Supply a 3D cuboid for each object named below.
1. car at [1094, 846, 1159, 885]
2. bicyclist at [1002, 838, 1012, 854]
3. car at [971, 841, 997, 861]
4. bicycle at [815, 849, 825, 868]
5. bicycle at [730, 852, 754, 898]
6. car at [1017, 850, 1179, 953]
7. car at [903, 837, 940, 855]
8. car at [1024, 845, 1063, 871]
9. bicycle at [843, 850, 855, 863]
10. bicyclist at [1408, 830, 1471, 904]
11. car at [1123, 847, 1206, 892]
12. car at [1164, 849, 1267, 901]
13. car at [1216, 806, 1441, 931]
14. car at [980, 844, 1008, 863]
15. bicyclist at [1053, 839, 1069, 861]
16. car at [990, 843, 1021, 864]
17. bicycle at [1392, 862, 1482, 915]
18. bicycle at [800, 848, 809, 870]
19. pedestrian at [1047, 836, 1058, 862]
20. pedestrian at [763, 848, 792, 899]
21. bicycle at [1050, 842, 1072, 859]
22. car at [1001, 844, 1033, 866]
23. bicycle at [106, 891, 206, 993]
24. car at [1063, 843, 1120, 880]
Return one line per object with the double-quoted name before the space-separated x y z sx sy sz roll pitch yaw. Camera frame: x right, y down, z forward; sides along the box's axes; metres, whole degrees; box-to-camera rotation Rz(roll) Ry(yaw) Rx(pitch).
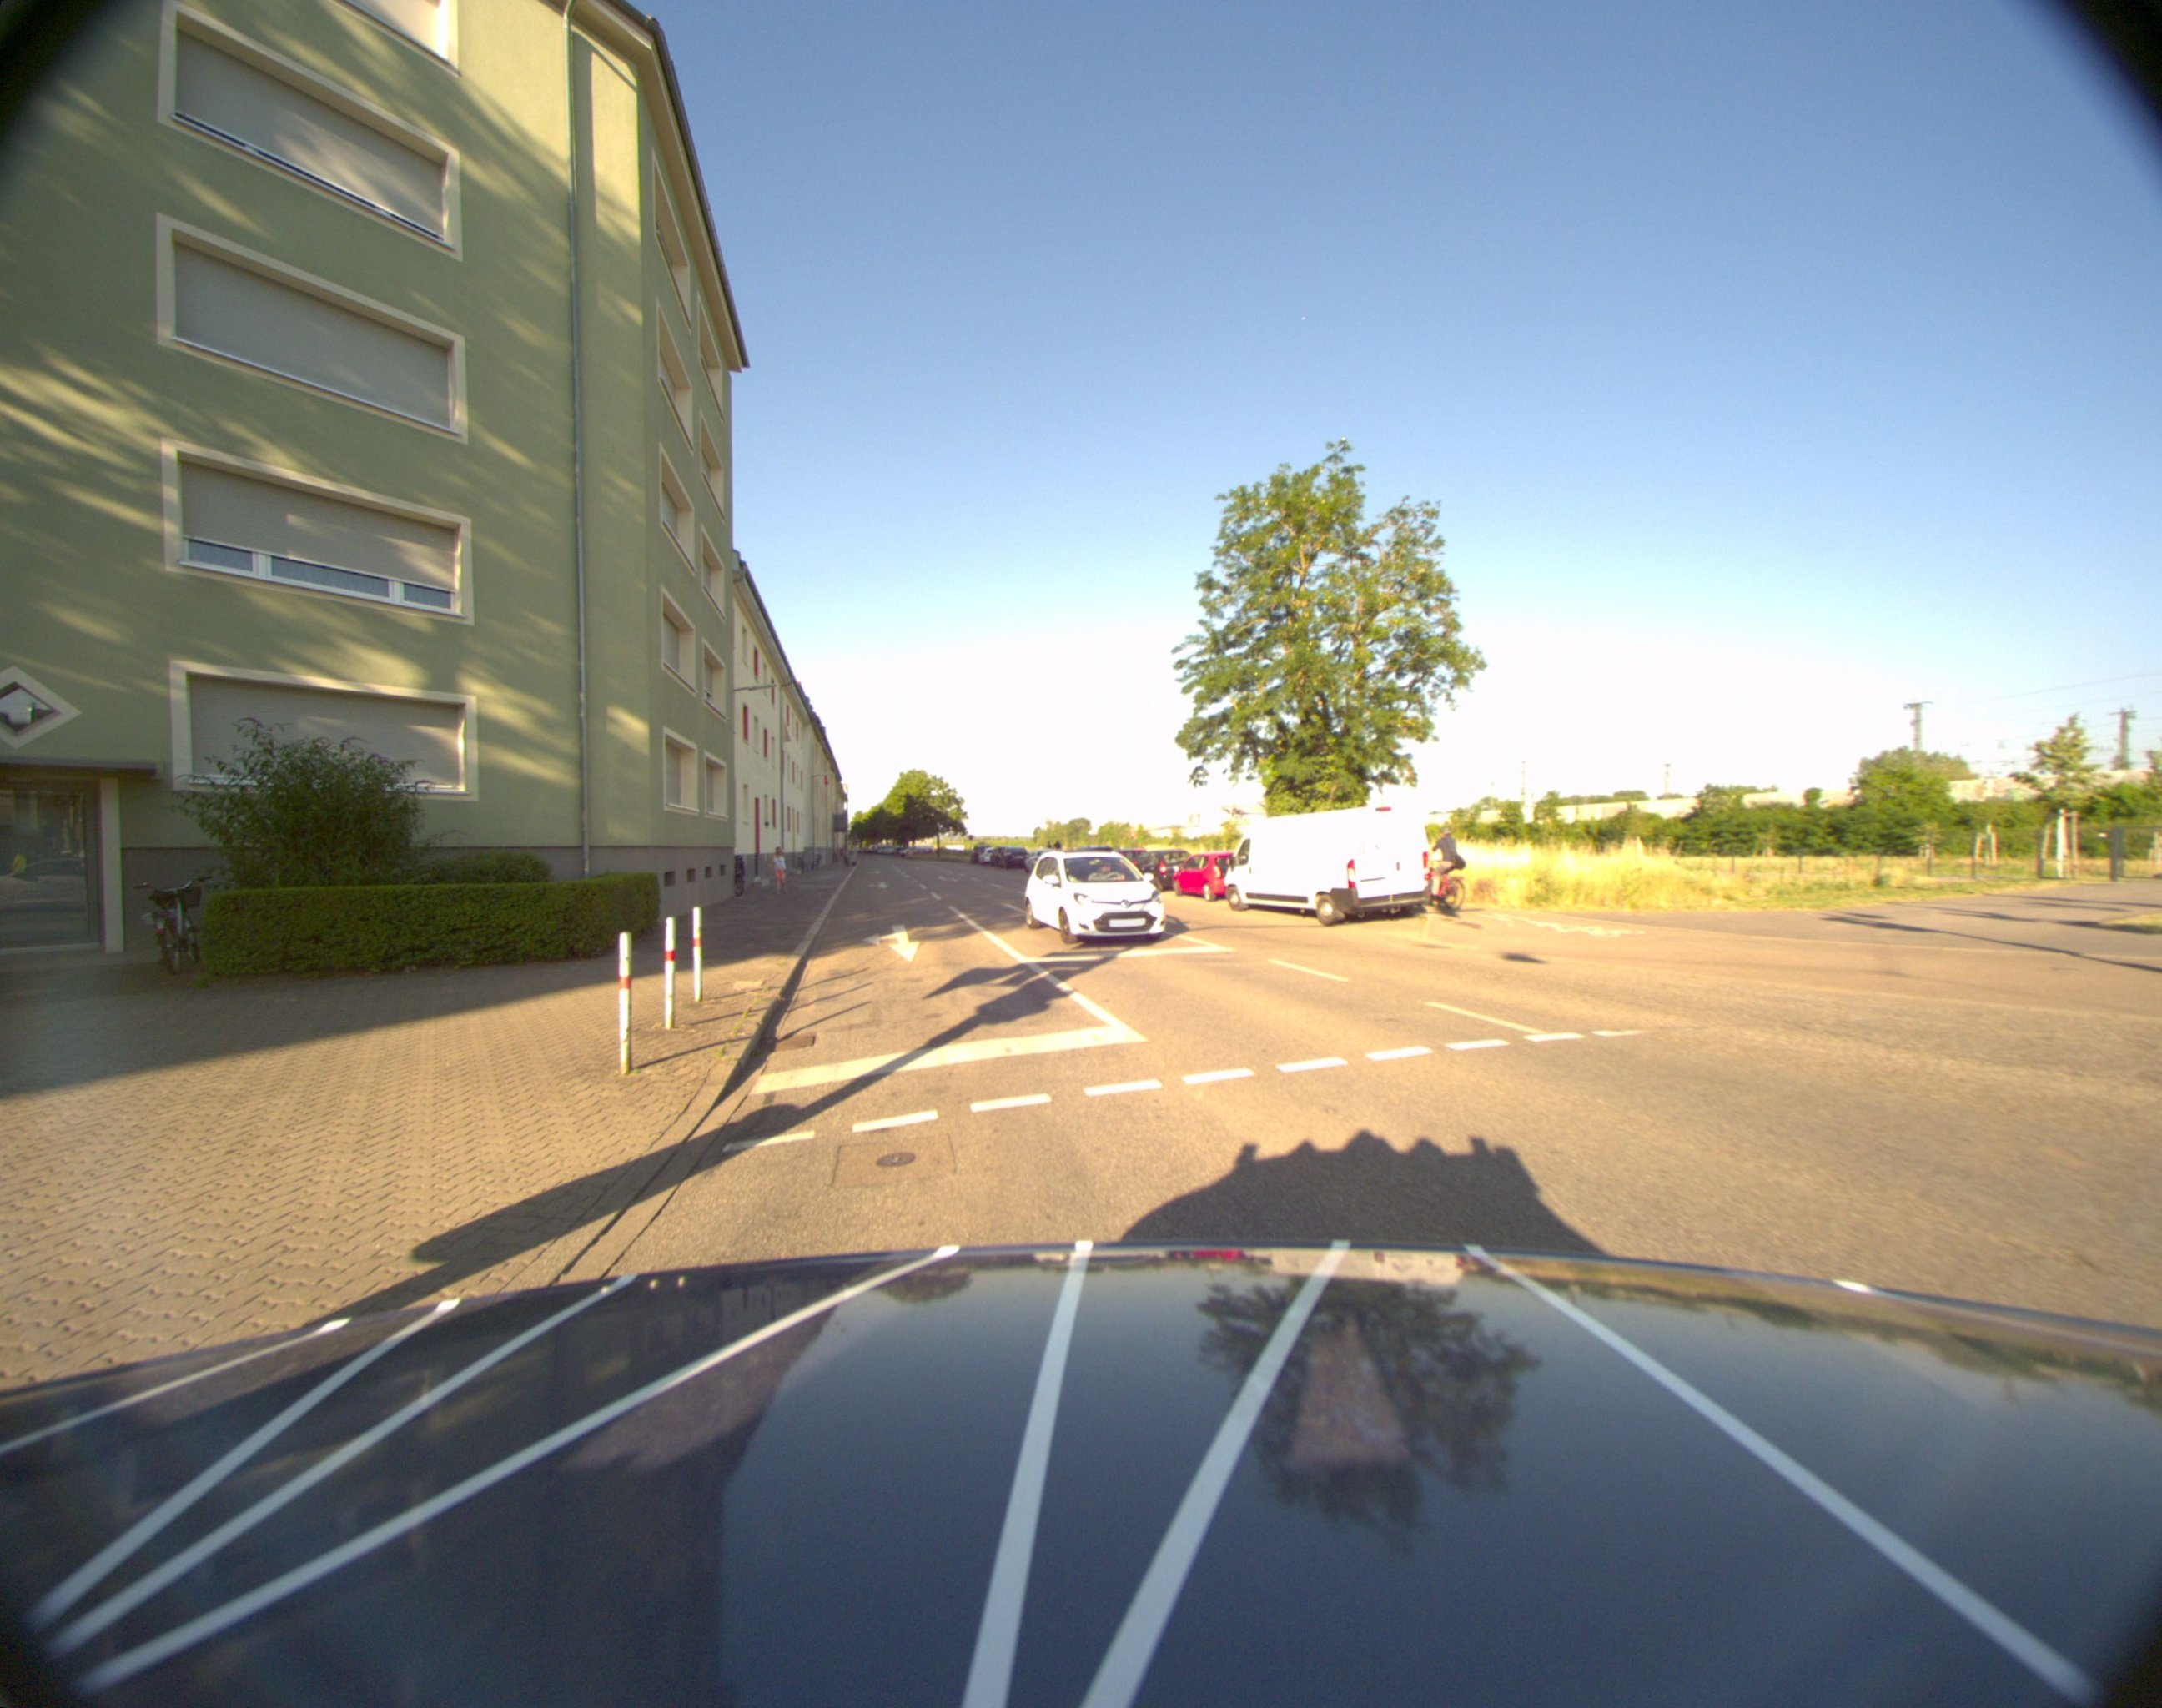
"car" 1.898 0.450 32.669 1.666 1.521 3.573 -1 1 -17
"bicyclist" -7.577 -0.794 77.832 0.769 1.587 1.144 -1 1 -14
"car" -9.244 -0.317 72.326 1.893 1.765 4.213 -1 1 -14
"bicycle" -18.618 0.295 54.236 0.518 1.318 2.207 -1 1 -15
"bicycle" -10.841 0.635 24.322 0.518 1.404 1.870 -1 1 -19
"car" 0.137 0.692 13.261 1.707 1.460 3.769 -1 1 -17
"car" -25.399 -1.313 120.915 5.328 2.399 2.262 -5 3 -16
"car" -2.365 0.229 47.381 1.708 1.517 3.577 -1 1 -15
"bicycle" -19.801 0.218 64.861 0.652 1.091 2.198 -1 1 -25
"bicyclist" 8.197 0.276 17.391 0.879 1.615 0.971 -1 1 -18
"car" 3.049 0.517 28.514 1.748 1.521 3.810 -1 1 -17
"car" 4.207 0.615 24.307 1.748 1.478 3.688 -1 1 -17
"car" 5.608 0.231 18.239 2.238 2.423 5.551 -4 2 -18
"car" -7.691 -0.099 66.659 1.826 1.565 4.213 -1 1 -15
"bicyclist" -1.443 -0.314 55.323 0.867 1.587 1.144 -1 1 -18
"car" -6.152 -0.098 61.498 1.826 1.628 4.213 -1 1 -15
"bicycle" 8.159 0.757 17.517 0.755 1.087 1.946 -1 1 -17
"bicycle" -17.945 0.302 49.297 0.518 1.404 1.870 -1 1 -19
"pedestrian" -2.216 -0.368 58.391 0.616 2.002 0.729 -1 2 -18
"pedestrian" -10.427 0.640 26.122 0.788 1.697 0.948 -1 2 -16
"bicycle" -1.485 -0.284 55.422 0.941 1.182 2.478 -1 1 -18
"car" -4.777 0.071 55.970 1.826 1.517 4.284 -1 1 -12
"bicycle" -11.009 0.992 9.028 1.842 0.997 0.647 1 2 37
"car" 0.452 0.320 37.051 1.666 1.650 3.999 -1 1 -17
